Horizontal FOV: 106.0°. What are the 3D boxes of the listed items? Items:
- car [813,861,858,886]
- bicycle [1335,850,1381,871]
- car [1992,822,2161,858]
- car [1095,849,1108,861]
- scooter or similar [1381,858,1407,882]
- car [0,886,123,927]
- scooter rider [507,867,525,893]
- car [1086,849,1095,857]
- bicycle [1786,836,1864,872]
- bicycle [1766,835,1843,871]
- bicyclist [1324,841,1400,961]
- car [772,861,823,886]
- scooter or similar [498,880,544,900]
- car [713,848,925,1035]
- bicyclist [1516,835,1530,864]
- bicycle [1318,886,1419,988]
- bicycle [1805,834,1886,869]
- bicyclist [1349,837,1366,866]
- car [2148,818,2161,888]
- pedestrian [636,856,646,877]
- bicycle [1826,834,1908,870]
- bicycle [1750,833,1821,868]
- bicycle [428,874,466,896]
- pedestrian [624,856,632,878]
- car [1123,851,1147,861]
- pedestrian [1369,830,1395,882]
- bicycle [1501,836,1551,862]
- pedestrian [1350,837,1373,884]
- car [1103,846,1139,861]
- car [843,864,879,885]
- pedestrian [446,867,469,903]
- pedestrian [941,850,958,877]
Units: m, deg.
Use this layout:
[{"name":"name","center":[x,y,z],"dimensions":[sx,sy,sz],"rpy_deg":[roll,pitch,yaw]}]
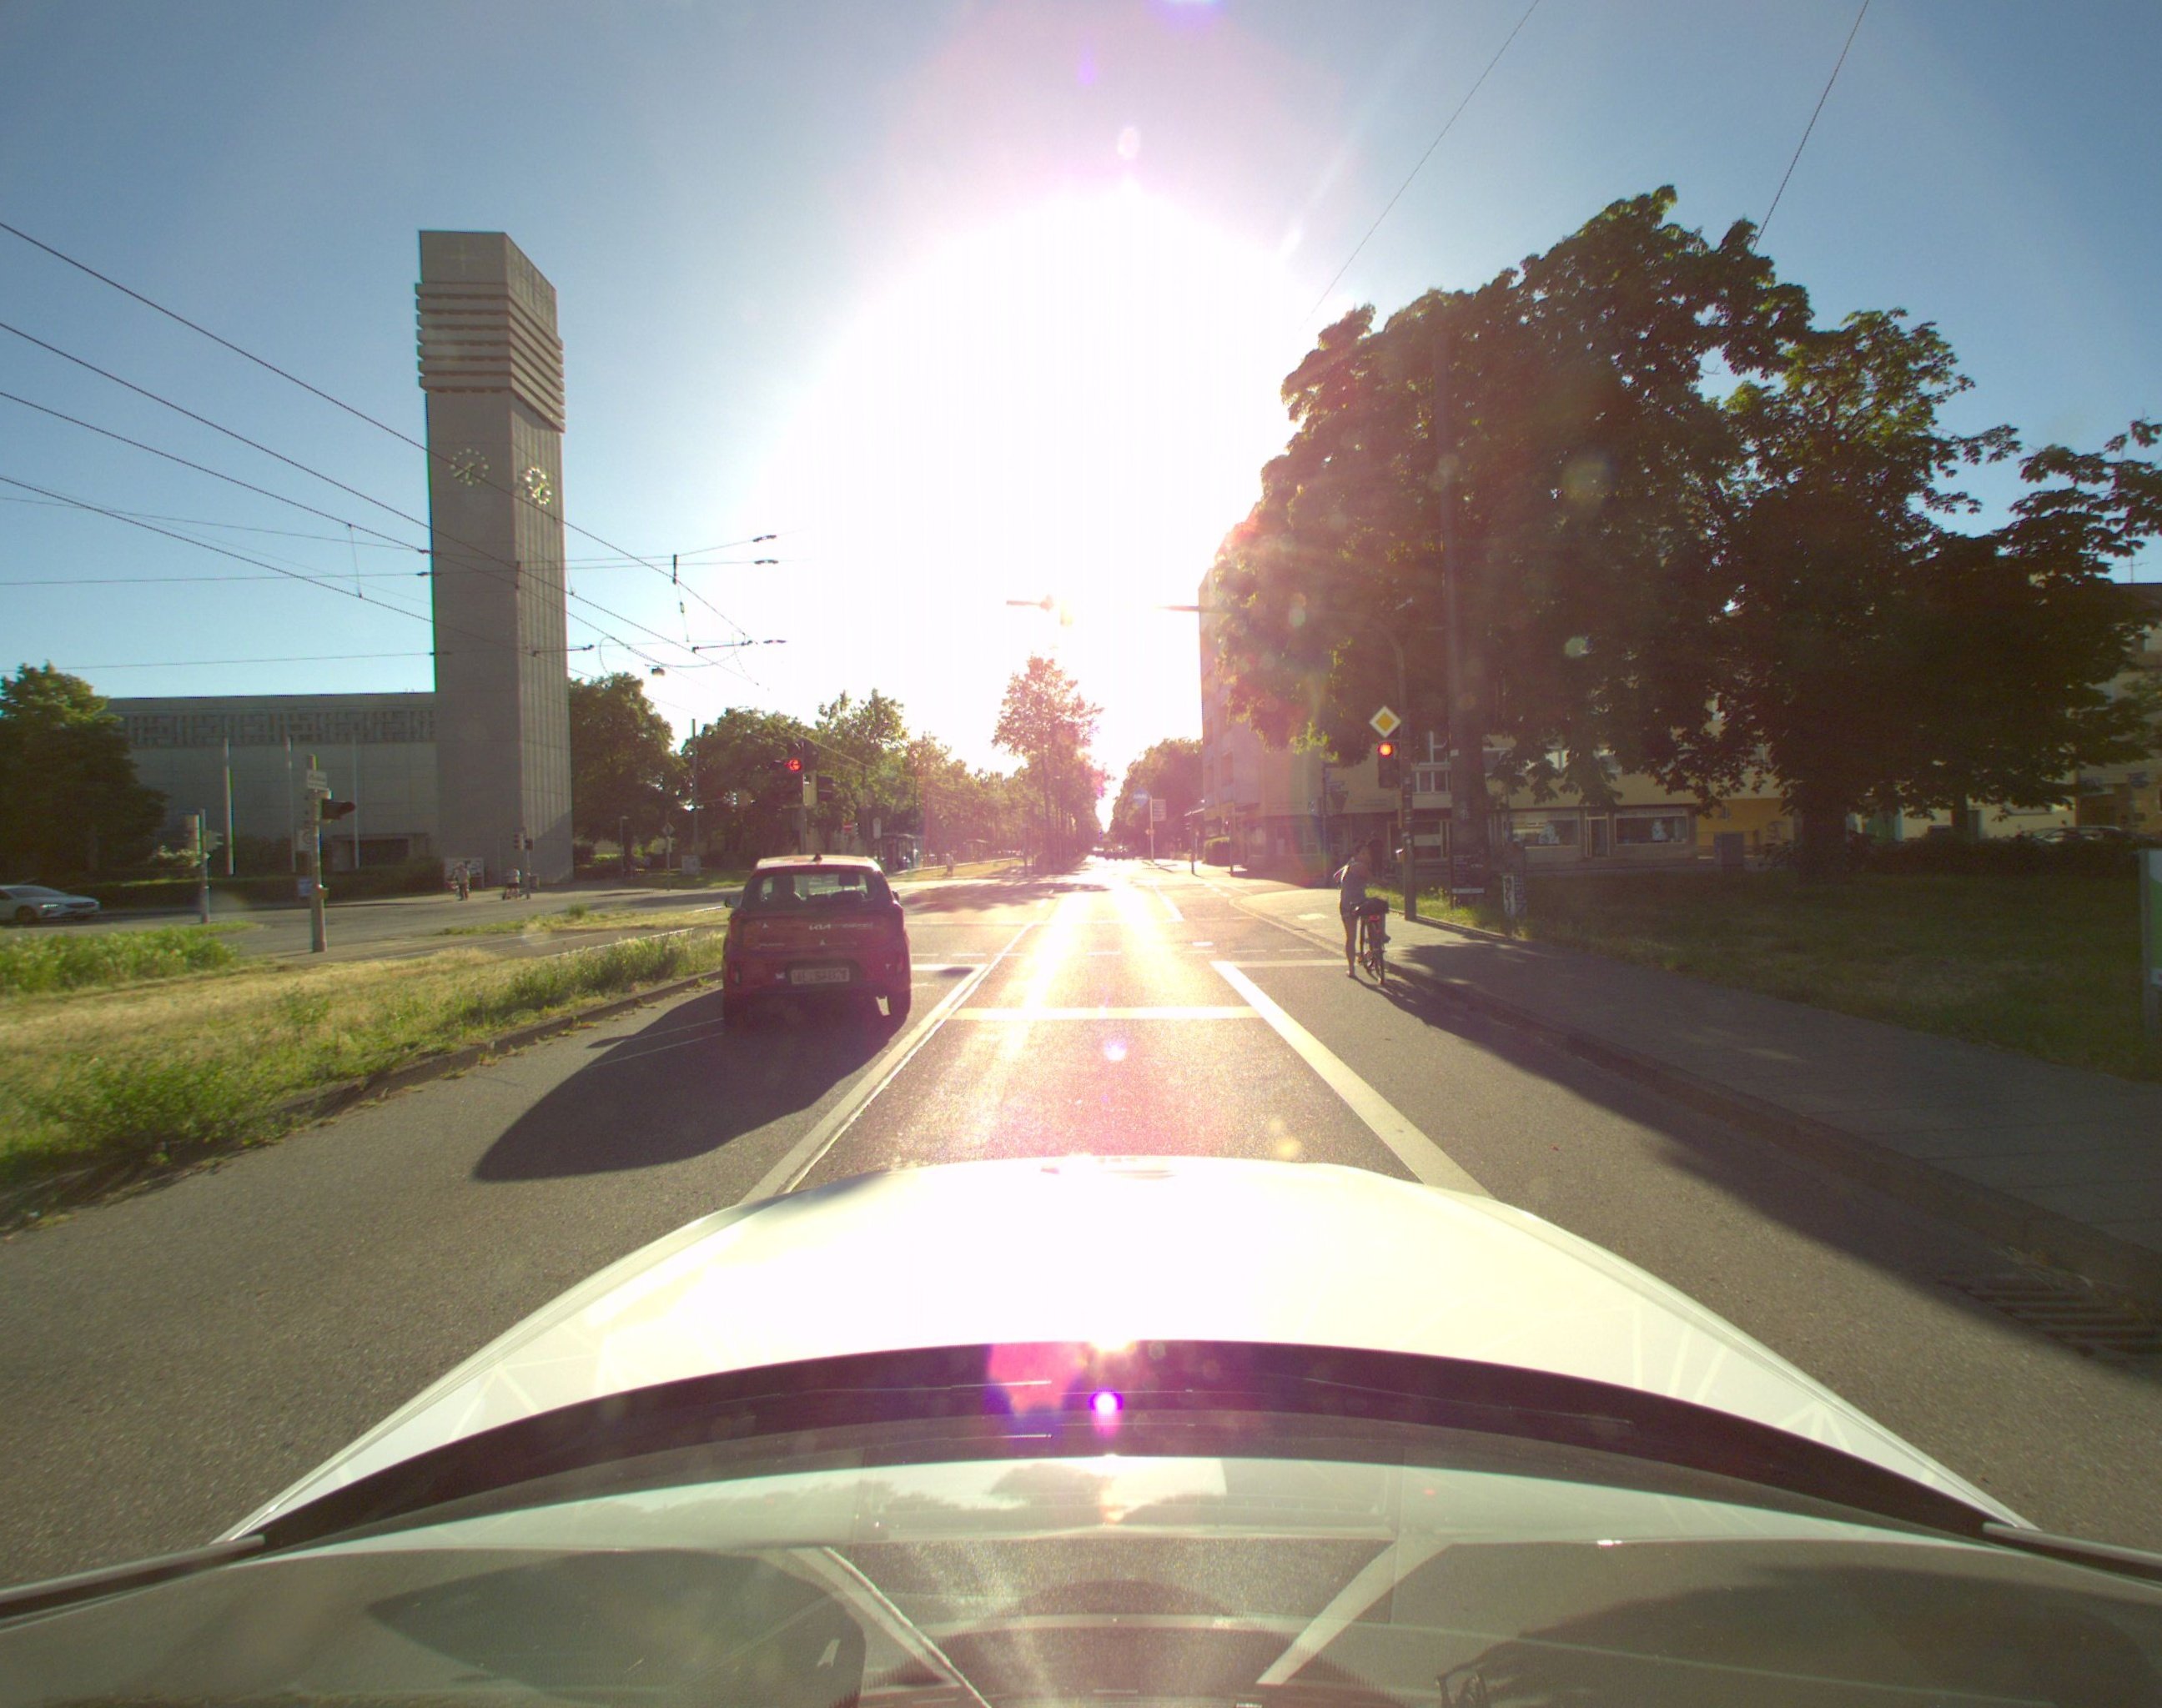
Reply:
[{"name":"car","center":[-16.983,1.342,56.548],"dimensions":[1.681,1.533,4.363],"rpy_deg":[-2,0,2]},{"name":"bicycle","center":[14.618,0.348,43.021],"dimensions":[2.234,0.987,0.792],"rpy_deg":[-1,5,16]},{"name":"car","center":[46.756,-0.644,38.114],"dimensions":[5.044,1.494,2.243],"rpy_deg":[-1,2,25]},{"name":"car","center":[3.342,0.163,130.360],"dimensions":[1.962,1.859,4.000],"rpy_deg":[1,0,0]},{"name":"scooter or similar","center":[9.987,0.512,25.995],"dimensions":[0.596,0.737,0.681],"rpy_deg":[1,0,1]},{"name":"car","center":[-40.133,1.973,30.977],"dimensions":[4.695,1.401,1.997],"rpy_deg":[1,0,-5]},{"name":"scooter rider","center":[-27.253,1.239,39.294],"dimensions":[0.526,1.218,0.585],"rpy_deg":[1,0,-15]},{"name":"car","center":[2.043,-0.185,170.891],"dimensions":[1.887,1.611,4.500],"rpy_deg":[1,0,0]},{"name":"bicycle","center":[22.653,-0.014,24.838],"dimensions":[0.595,1.034,1.991],"rpy_deg":[1,0,1]},{"name":"bicycle","center":[22.001,-0.032,24.823],"dimensions":[0.595,1.034,2.007],"rpy_deg":[1,0,1]},{"name":"bicyclist","center":[3.250,0.518,9.472],"dimensions":[0.635,1.323,0.804],"rpy_deg":[1,0,4]},{"name":"car","center":[-19.373,1.325,55.911],"dimensions":[1.800,1.533,4.362],"rpy_deg":[-2,0,2]},{"name":"scooter or similar","center":[-27.049,1.741,39.361],"dimensions":[1.737,0.899,0.561],"rpy_deg":[-2,0,-15]},{"name":"car","center":[-2.747,0.693,8.611],"dimensions":[1.699,1.508,3.676],"rpy_deg":[0,0,-19]},{"name":"bicyclist","center":[24.356,-0.250,44.864],"dimensions":[0.525,1.567,0.464],"rpy_deg":[1,0,-1]},{"name":"bicycle","center":[3.251,0.899,9.380],"dimensions":[0.645,0.972,1.806],"rpy_deg":[1,0,4]},{"name":"bicycle","center":[23.285,-0.075,24.851],"dimensions":[0.595,1.034,2.007],"rpy_deg":[1,0,1]},{"name":"bicyclist","center":[14.592,-0.116,42.973],"dimensions":[0.762,1.471,0.902],"rpy_deg":[-2,1,18]},{"name":"car","center":[25.242,-0.070,17.259],"dimensions":[3.238,1.529,1.575],"rpy_deg":[-2,0,-1]},{"name":"pedestrian","center":[-31.518,0.918,58.354],"dimensions":[0.434,1.507,0.488],"rpy_deg":[1,0,-3]},{"name":"bicycle","center":[23.922,-0.067,24.834],"dimensions":[0.595,1.034,2.007],"rpy_deg":[1,0,1]},{"name":"bicycle","center":[21.354,-0.113,24.727],"dimensions":[0.595,1.034,1.796],"rpy_deg":[1,0,1]},{"name":"bicycle","center":[-33.544,1.633,43.126],"dimensions":[0.488,1.045,1.687],"rpy_deg":[1,0,9]},{"name":"pedestrian","center":[-32.345,0.904,58.156],"dimensions":[0.434,1.560,0.305],"rpy_deg":[1,0,-3]},{"name":"car","center":[10.068,0.397,151.387],"dimensions":[4.009,1.750,1.740],"rpy_deg":[1,0,-27]},{"name":"pedestrian","center":[9.842,0.061,26.634],"dimensions":[0.724,1.682,0.534],"rpy_deg":[1,0,13]},{"name":"bicycle","center":[24.812,-0.301,45.423],"dimensions":[2.462,1.399,0.608],"rpy_deg":[1,0,0]},{"name":"pedestrian","center":[9.154,0.203,26.615],"dimensions":[0.642,1.522,0.498],"rpy_deg":[1,0,13]},{"name":"car","center":[4.941,-0.046,100.865],"dimensions":[3.949,1.859,2.024],"rpy_deg":[1,0,42]},{"name":"car","center":[-16.810,1.551,62.321],"dimensions":[1.560,1.402,3.916],"rpy_deg":[1,0,2]},{"name":"pedestrian","center":[-29.541,1.475,38.574],"dimensions":[0.440,1.666,0.748],"rpy_deg":[1,0,11]},{"name":"pedestrian","center":[-7.885,0.559,48.722],"dimensions":[0.887,1.606,0.614],"rpy_deg":[1,0,1]}]
